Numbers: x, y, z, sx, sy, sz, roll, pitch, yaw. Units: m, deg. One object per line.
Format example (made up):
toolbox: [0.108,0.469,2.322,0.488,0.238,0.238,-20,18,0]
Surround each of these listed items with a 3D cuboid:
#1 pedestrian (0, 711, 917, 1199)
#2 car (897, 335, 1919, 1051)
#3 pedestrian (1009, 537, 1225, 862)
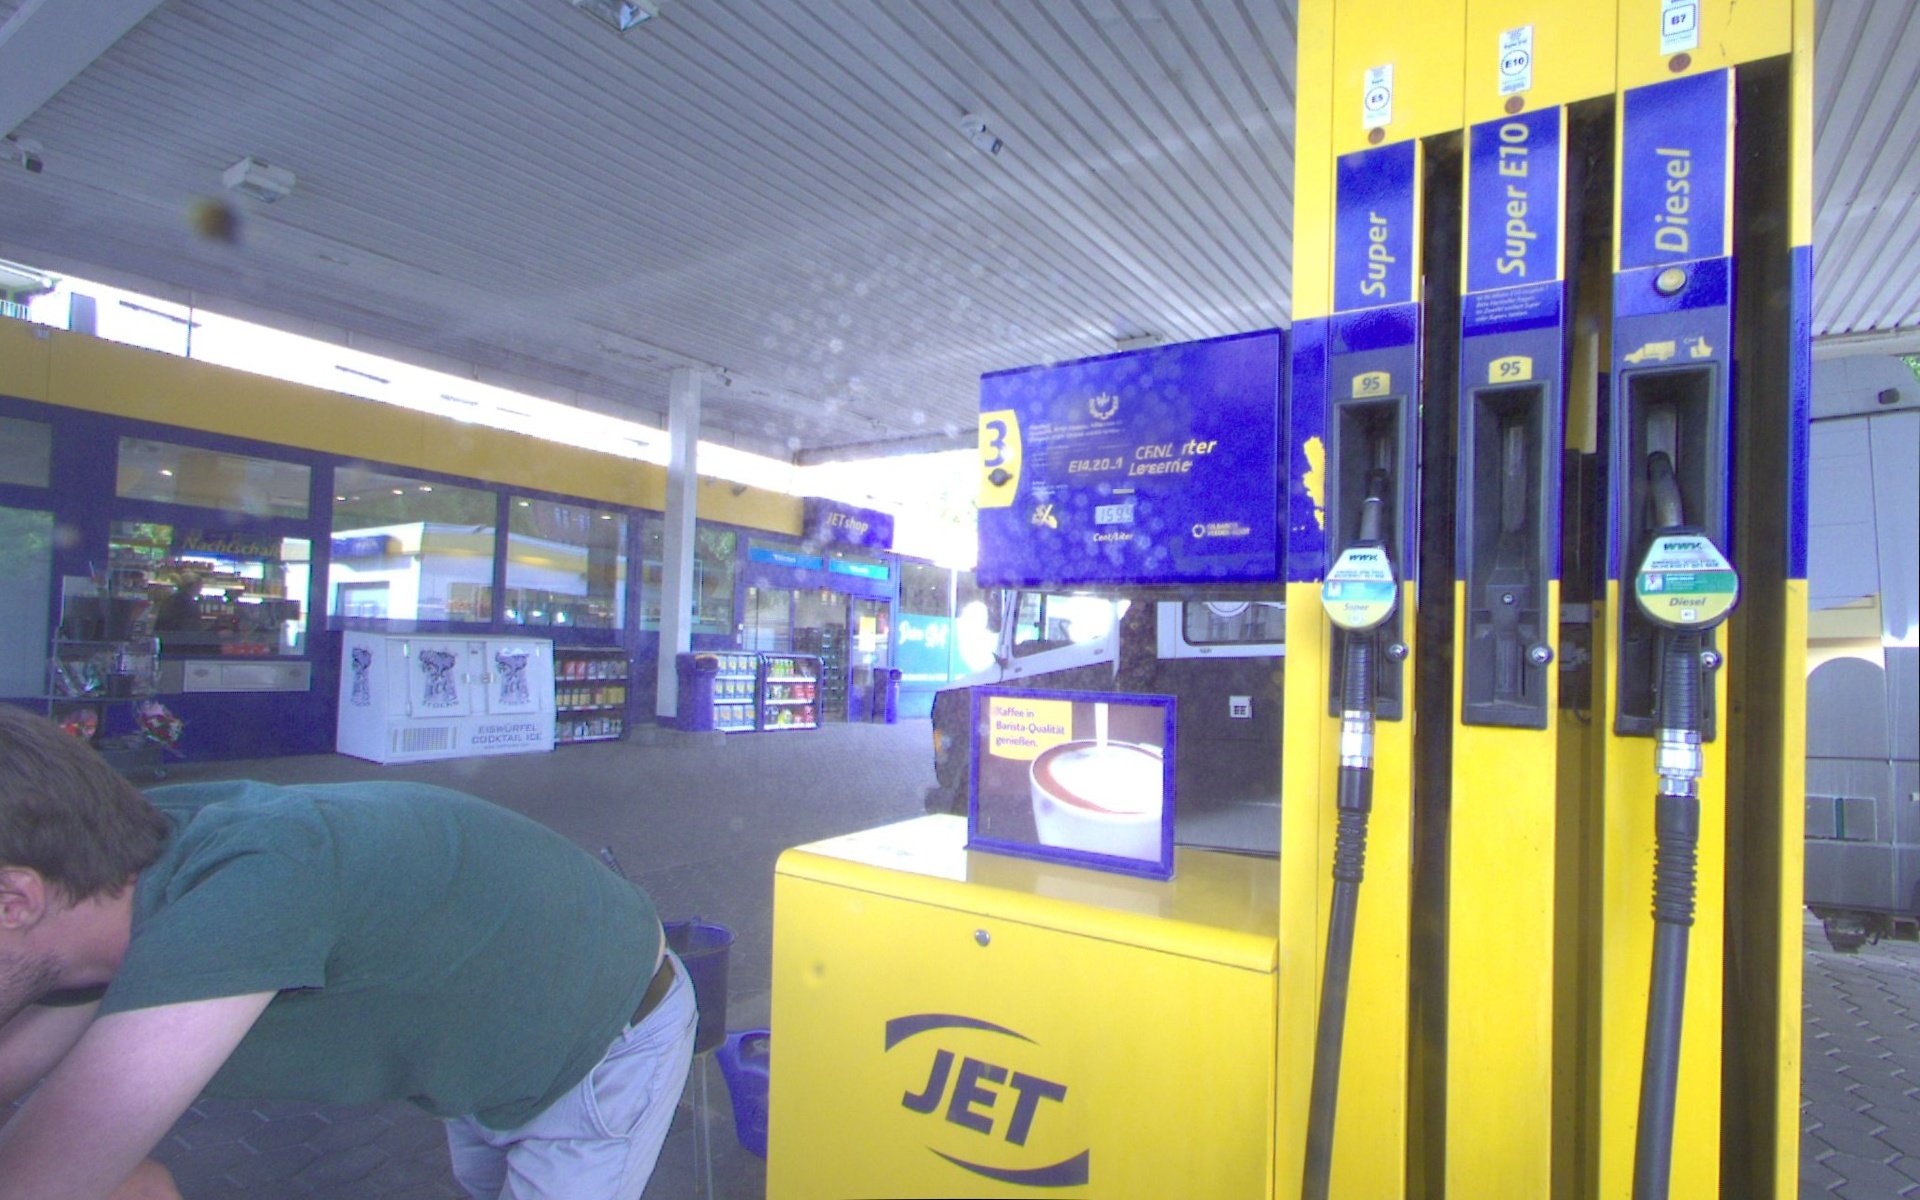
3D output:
pedestrian: [-0.526,0.807,1.079,0.664,1.298,0.749,-1,-1,31]
car: [2.397,0.412,6.024,5.219,2.724,2.250,0,-3,34]
pedestrian: [0.977,0.571,6.199,0.969,1.785,0.973,-1,-2,40]
